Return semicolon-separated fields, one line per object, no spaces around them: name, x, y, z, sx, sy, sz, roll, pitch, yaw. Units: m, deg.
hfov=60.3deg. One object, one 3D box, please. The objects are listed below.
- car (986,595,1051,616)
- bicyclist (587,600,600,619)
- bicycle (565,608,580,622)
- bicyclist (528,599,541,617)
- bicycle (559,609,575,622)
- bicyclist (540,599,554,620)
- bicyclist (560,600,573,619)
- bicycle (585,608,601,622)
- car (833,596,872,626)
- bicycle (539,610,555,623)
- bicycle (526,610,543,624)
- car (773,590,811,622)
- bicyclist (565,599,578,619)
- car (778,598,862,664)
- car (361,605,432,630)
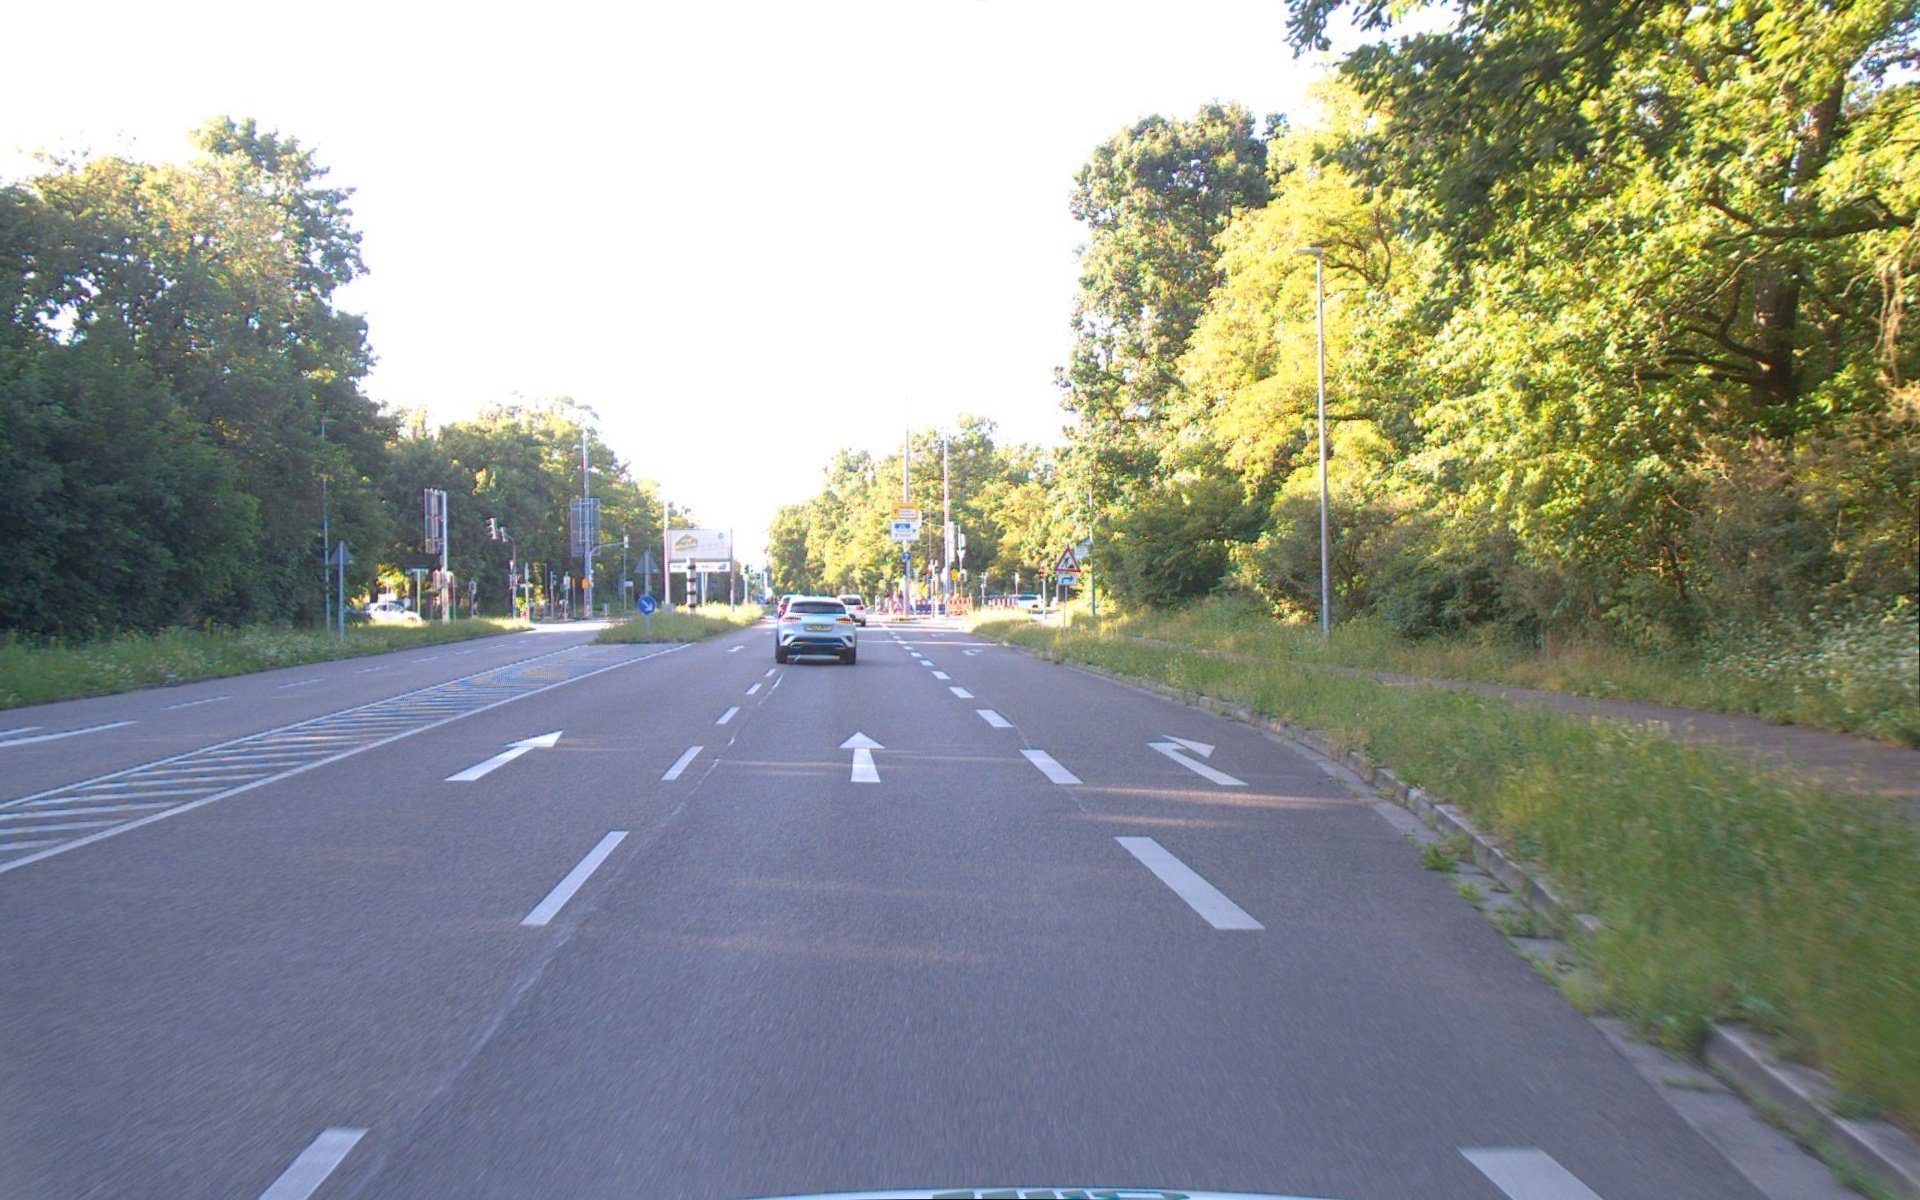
car;4.620;0.436;130.080;4.759;1.608;1.983;-1;0;-26
bicyclist;-26.125;0.668;117.772;0.700;1.362;0.990;-1;0;-1
bicycle;-28.045;1.092;119.729;0.700;0.930;1.910;-1;0;-1
bicyclist;-30.034;0.568;116.712;0.700;1.213;0.990;-1;0;-1
bicycle;-27.964;1.103;117.639;0.700;0.930;1.910;-1;0;-1
bicyclist;-29.140;0.674;116.672;0.696;1.414;0.990;-1;0;-1
bicyclist;-27.969;0.662;117.636;0.700;1.379;0.990;-1;0;-1
bicycle;-26.121;1.068;117.713;0.700;0.930;1.910;-1;0;-1
car;-5.460;0.544;84.353;1.902;1.439;3.997;-1;0;-4
bicycle;-29.129;1.164;116.706;0.700;0.930;1.910;-1;0;-1
bicycle;-30.023;1.171;116.711;0.700;0.930;1.910;-1;1;-1
car;-9.395;0.300;92.308;1.956;1.714;3.992;-1;0;-8
bicyclist;-28.043;0.645;119.271;0.700;1.365;0.990;-1;0;-1
car;-3.234;0.681;38.442;1.827;1.469;3.996;0;0;-4
car;-34.069;1.023;99.997;3.748;1.413;1.909;-1;0;-30
